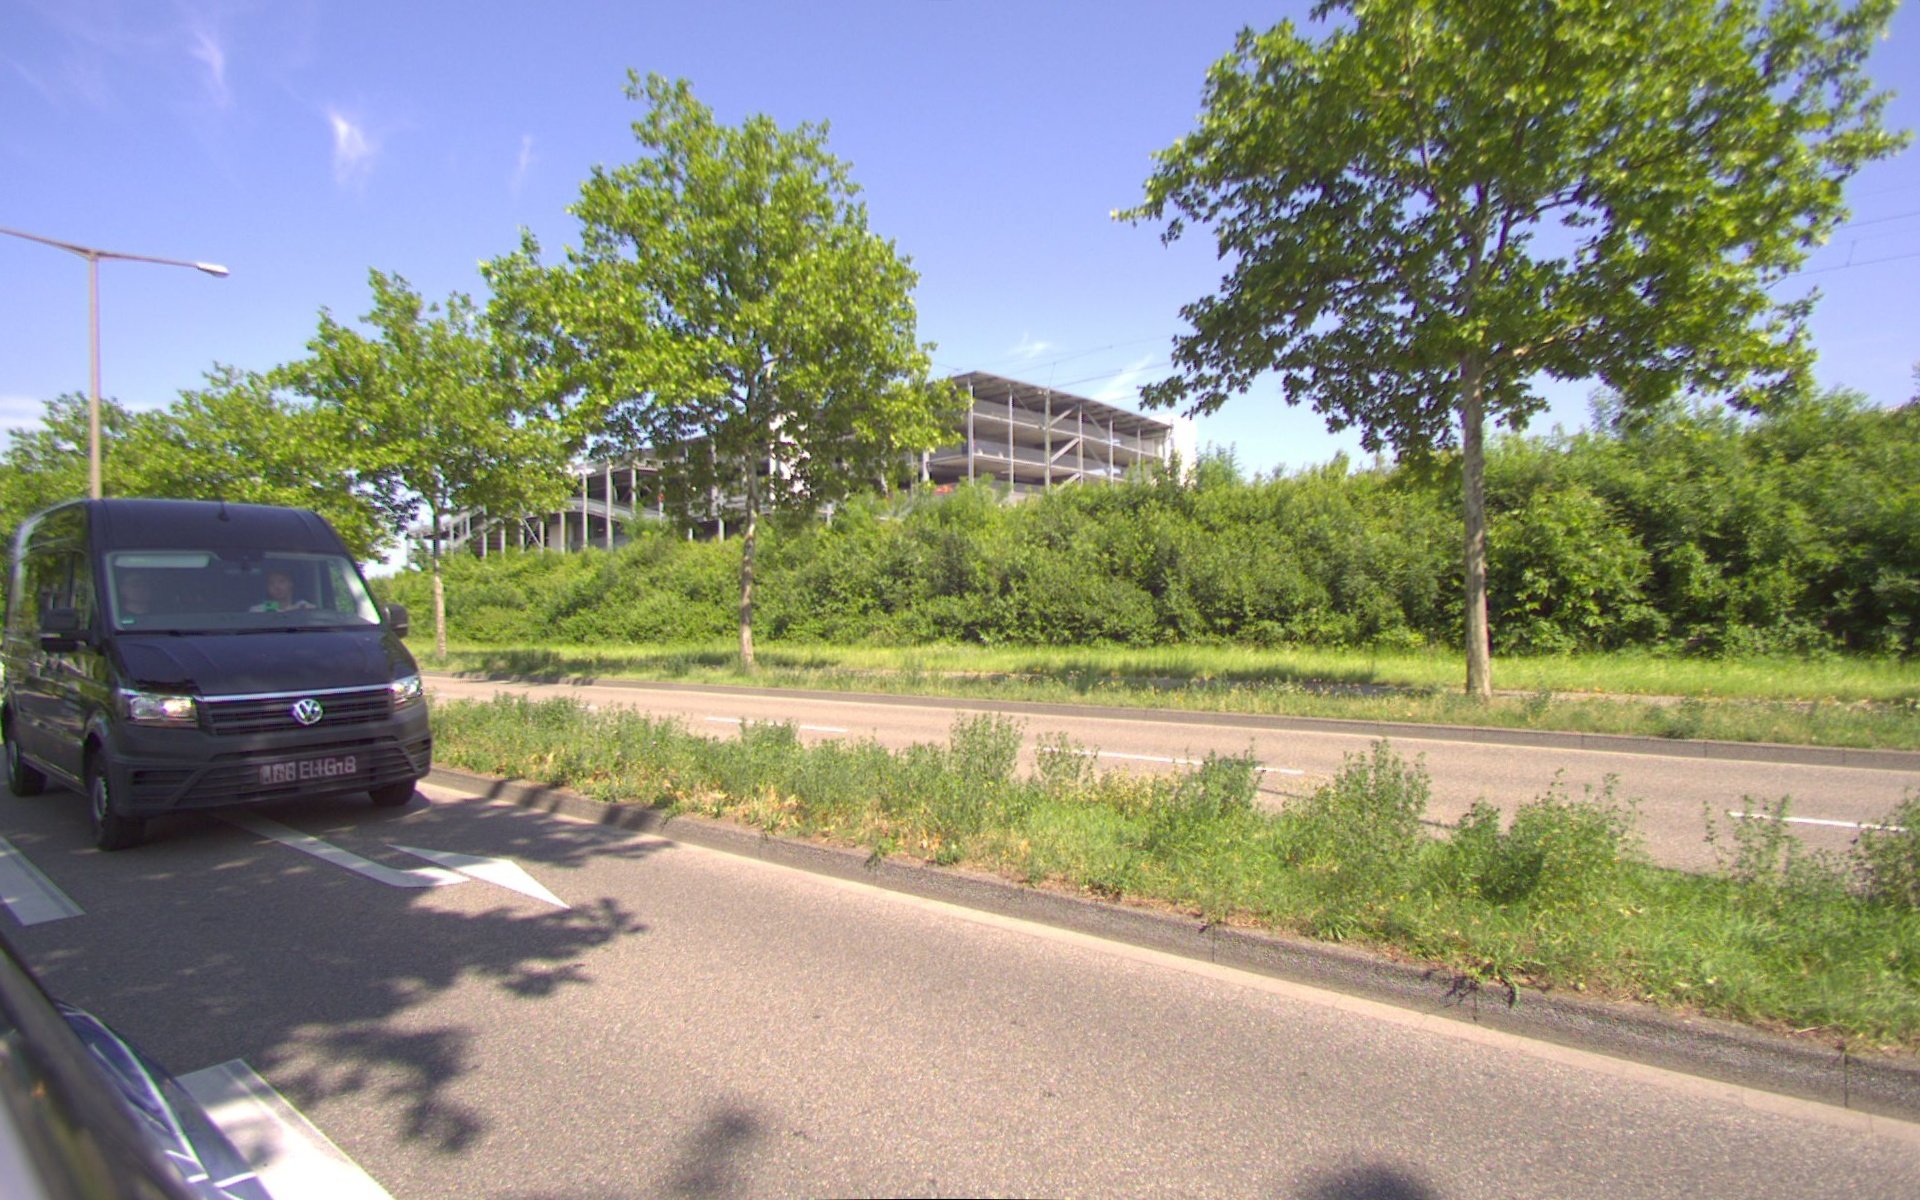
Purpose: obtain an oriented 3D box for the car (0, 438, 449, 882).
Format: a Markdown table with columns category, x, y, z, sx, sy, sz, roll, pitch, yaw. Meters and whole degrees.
| category | x | y | z | sx | sy | sz | roll | pitch | yaw |
| --- | --- | --- | --- | --- | --- | --- | --- | --- | --- |
| car | -6.775 | 0.403 | 8.789 | 6.165 | 2.627 | 1.995 | -2 | 0 | 41 |
